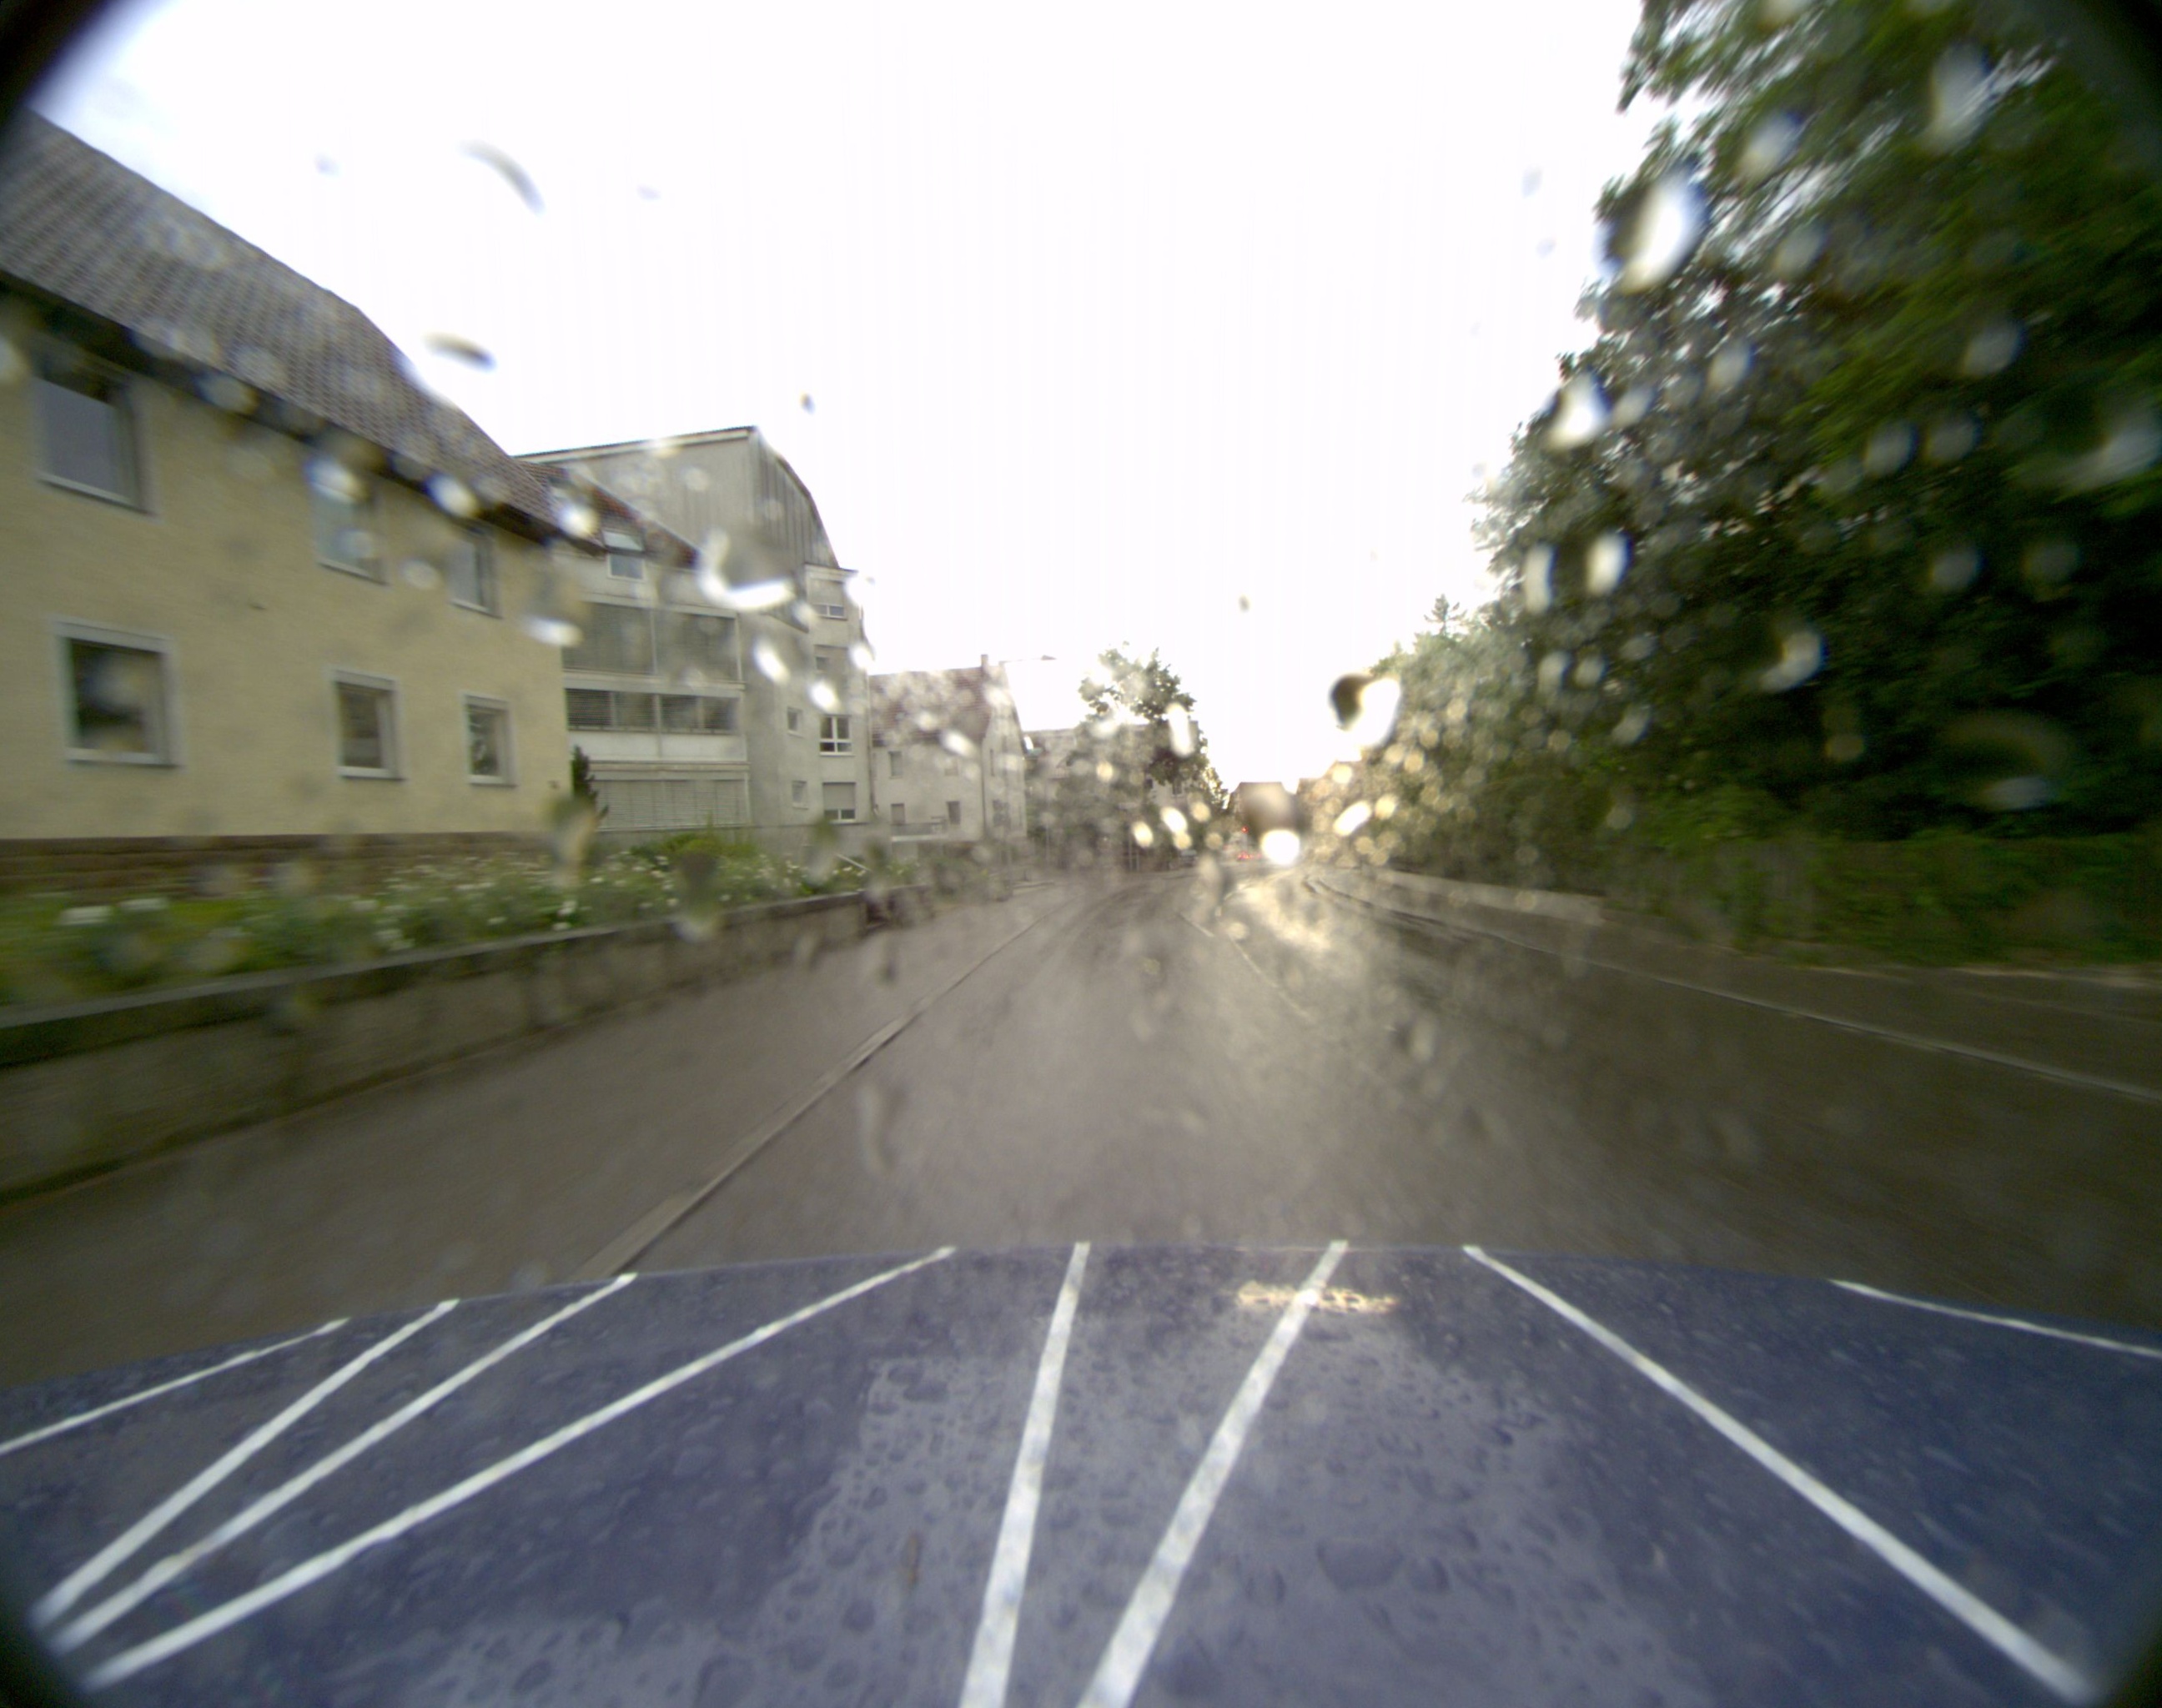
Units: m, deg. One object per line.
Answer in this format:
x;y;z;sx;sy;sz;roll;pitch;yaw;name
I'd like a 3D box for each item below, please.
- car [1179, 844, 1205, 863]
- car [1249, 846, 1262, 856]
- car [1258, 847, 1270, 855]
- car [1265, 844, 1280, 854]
10.092;-0.084;68.921;1.783;1.561;4.732;-4;0;13;car
28.079;-0.446;122.143;1.802;1.431;4.692;-2;0;10;car
34.293;-0.544;142.636;1.741;1.346;4.062;-2;0;8;car
31.505;-0.822;125.162;1.748;1.562;3.815;-5;0;8;car
